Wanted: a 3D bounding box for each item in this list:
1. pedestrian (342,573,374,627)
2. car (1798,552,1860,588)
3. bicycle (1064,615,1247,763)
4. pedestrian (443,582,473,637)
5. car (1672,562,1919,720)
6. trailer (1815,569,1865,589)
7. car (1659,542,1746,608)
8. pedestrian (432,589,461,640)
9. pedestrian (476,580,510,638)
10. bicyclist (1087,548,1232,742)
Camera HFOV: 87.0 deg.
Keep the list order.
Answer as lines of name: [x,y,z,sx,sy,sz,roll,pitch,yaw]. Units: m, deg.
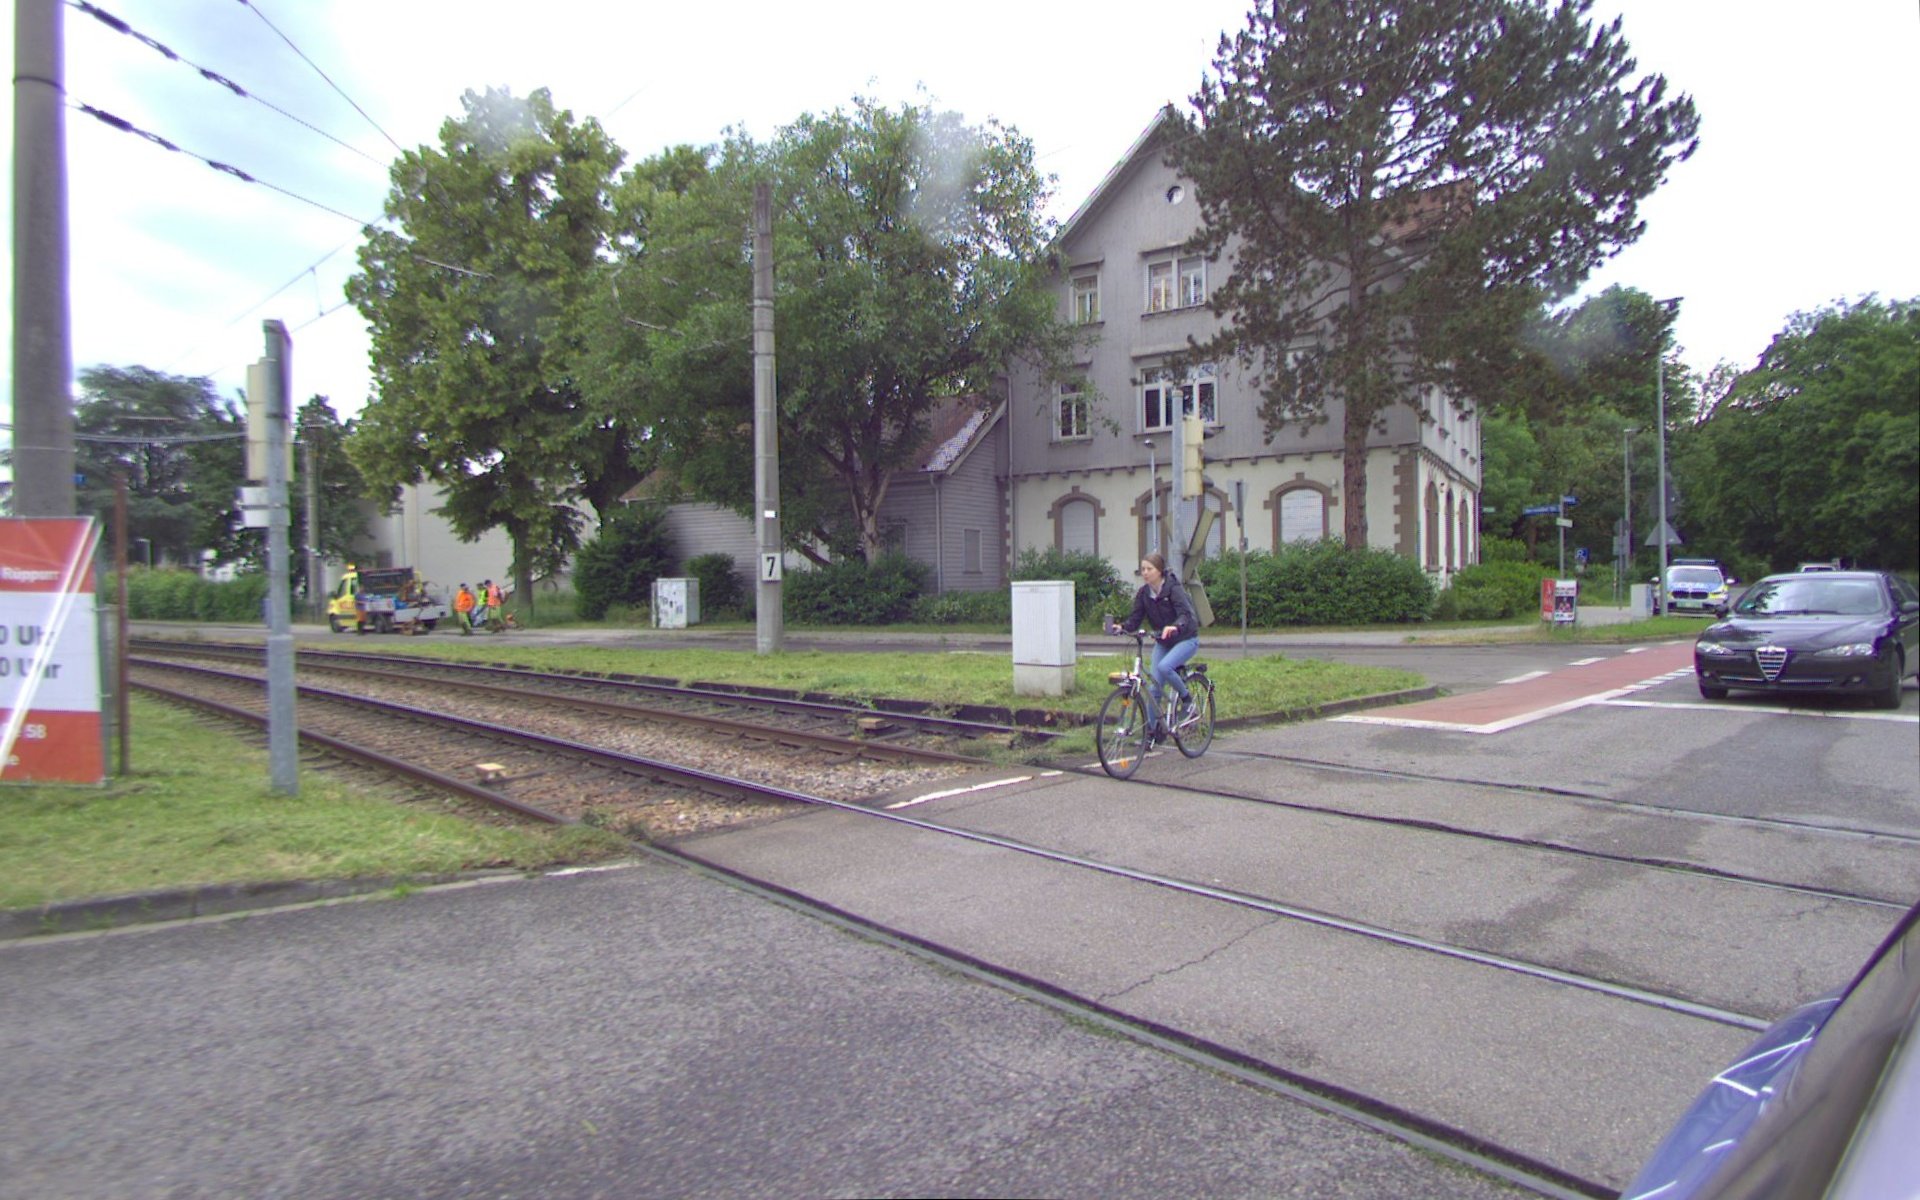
pedestrian: [-21.510,-0.007,36.154,0.600,1.892,0.762,0,1,32]
car: [46.673,-1.601,54.459,2.081,1.881,4.170,0,1,35]
bicycle: [1.659,0.672,8.331,1.996,0.992,0.383,-3,2,-44]
pedestrian: [-16.659,0.310,33.608,0.570,1.784,0.631,-1,1,27]
car: [10.093,0.329,11.736,4.459,1.475,1.802,-2,2,-38]
trailer: [44.600,-1.078,51.339,1.562,0.998,3.421,0,1,36]
car: [22.457,-0.805,30.751,1.924,1.872,3.952,2,3,34]
pedestrian: [-19.004,0.534,37.449,0.699,1.863,0.609,-1,1,2]
pedestrian: [-15.600,0.290,33.806,0.858,1.878,0.679,-1,1,-41]
bicyclist: [1.606,0.338,8.112,0.946,1.443,0.621,-3,-2,-44]
